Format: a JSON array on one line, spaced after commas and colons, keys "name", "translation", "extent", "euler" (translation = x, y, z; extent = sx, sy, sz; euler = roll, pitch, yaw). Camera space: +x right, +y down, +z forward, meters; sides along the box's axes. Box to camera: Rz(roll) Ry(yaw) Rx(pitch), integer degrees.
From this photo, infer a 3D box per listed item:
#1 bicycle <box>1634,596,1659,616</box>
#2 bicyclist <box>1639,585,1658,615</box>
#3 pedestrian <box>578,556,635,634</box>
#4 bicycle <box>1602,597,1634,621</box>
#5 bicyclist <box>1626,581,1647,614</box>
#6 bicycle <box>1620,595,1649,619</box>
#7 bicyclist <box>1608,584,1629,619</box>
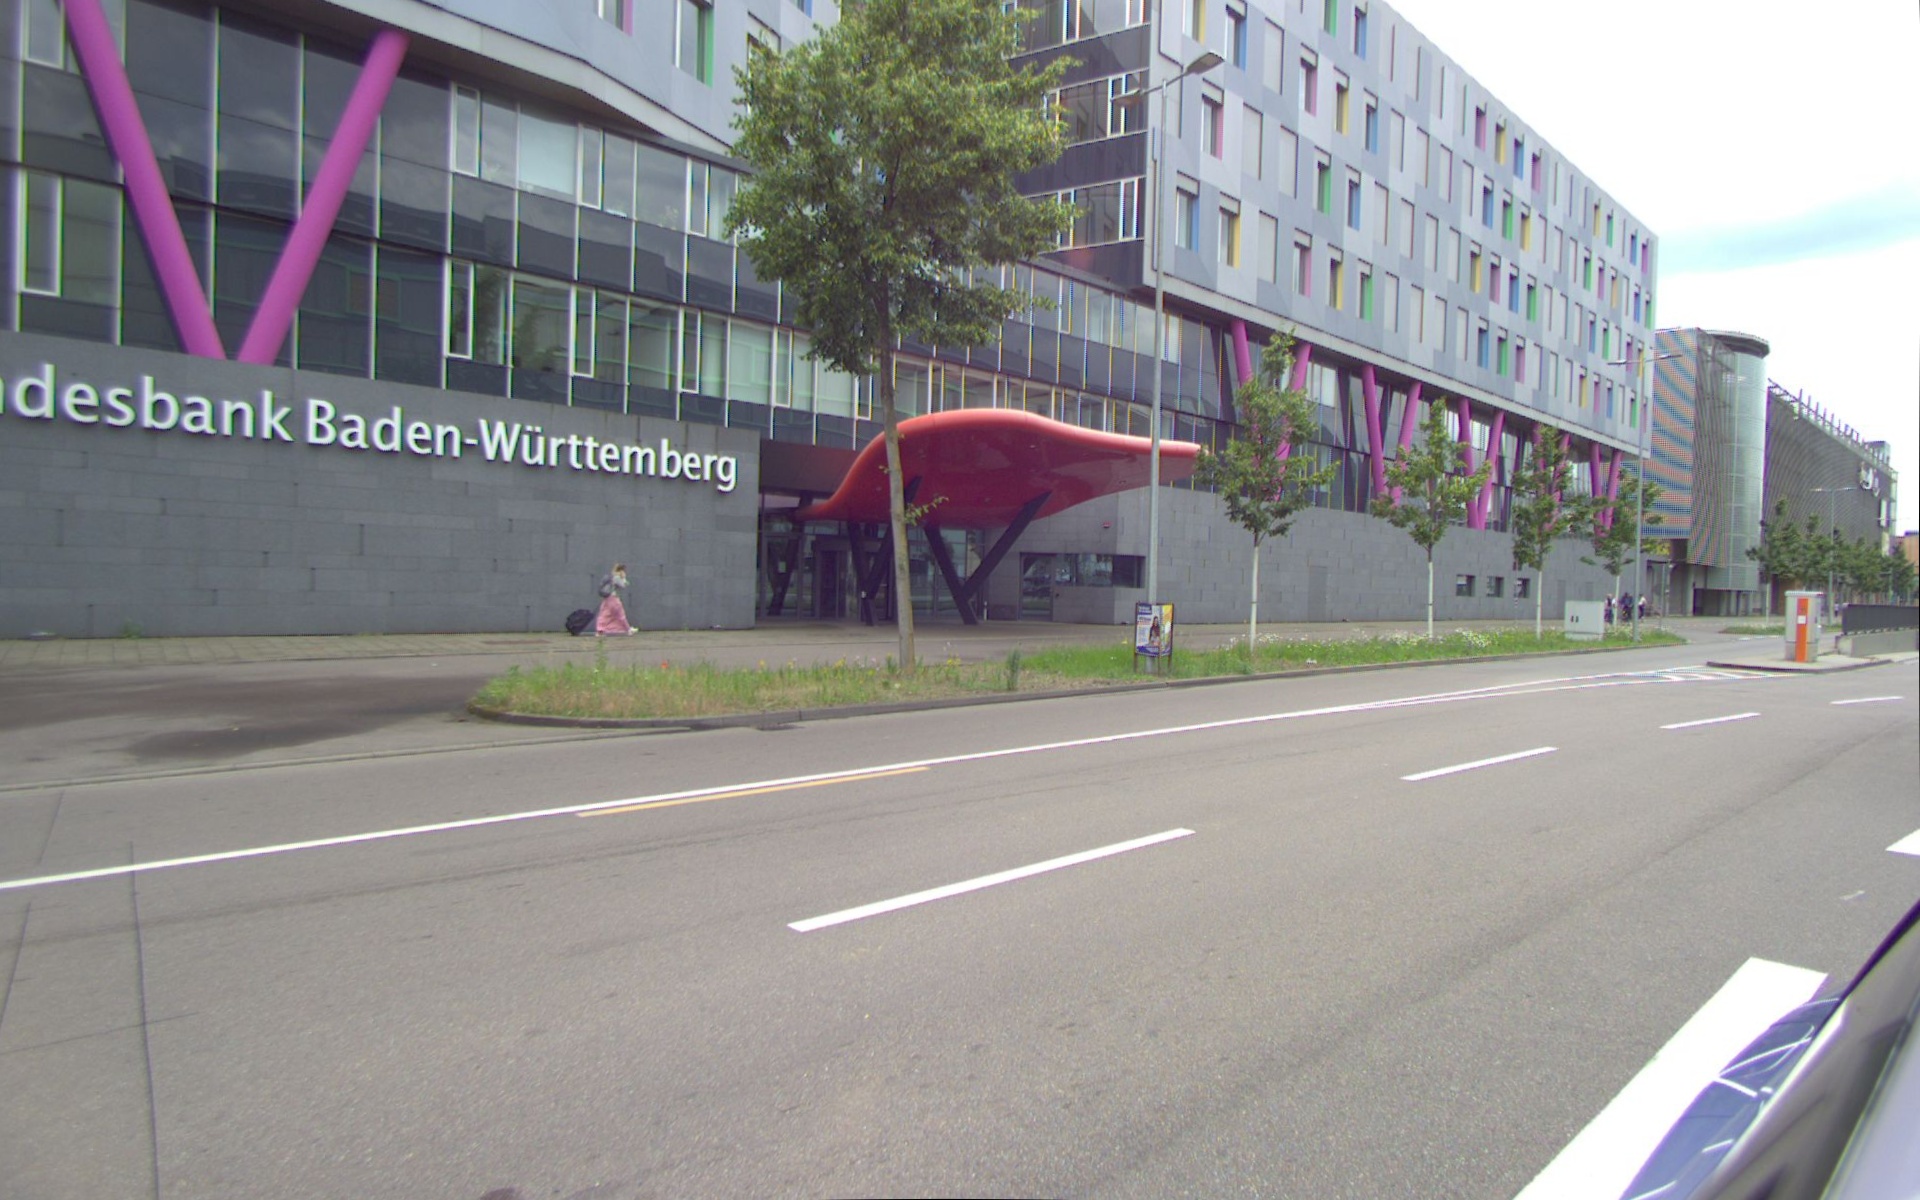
[{"name": "bicycle", "translation": [42.829, 0.357, 63.123], "extent": [2.182, 1.209, 0.784], "euler": [1, 1, -42]}, {"name": "bicyclist", "translation": [43.086, 0.012, 63.329], "extent": [0.957, 1.809, 0.772], "euler": [1, 1, -42]}, {"name": "pedestrian", "translation": [-7.473, -0.107, 21.404], "extent": [0.898, 1.602, 0.786], "euler": [1, 1, -40]}, {"name": "bicycle", "translation": [34.834, 0.483, 53.569], "extent": [2.304, 1.173, 0.800], "euler": [2, 0, -42]}, {"name": "bicyclist", "translation": [38.695, -0.167, 57.877], "extent": [0.692, 1.826, 0.783], "euler": [6, -3, -41]}, {"name": "bicycle", "translation": [38.451, 0.390, 57.669], "extent": [2.303, 1.173, 0.800], "euler": [6, -3, -42]}, {"name": "bicyclist", "translation": [34.877, 0.082, 53.605], "extent": [0.692, 1.825, 0.783], "euler": [2, -1, -41]}]
